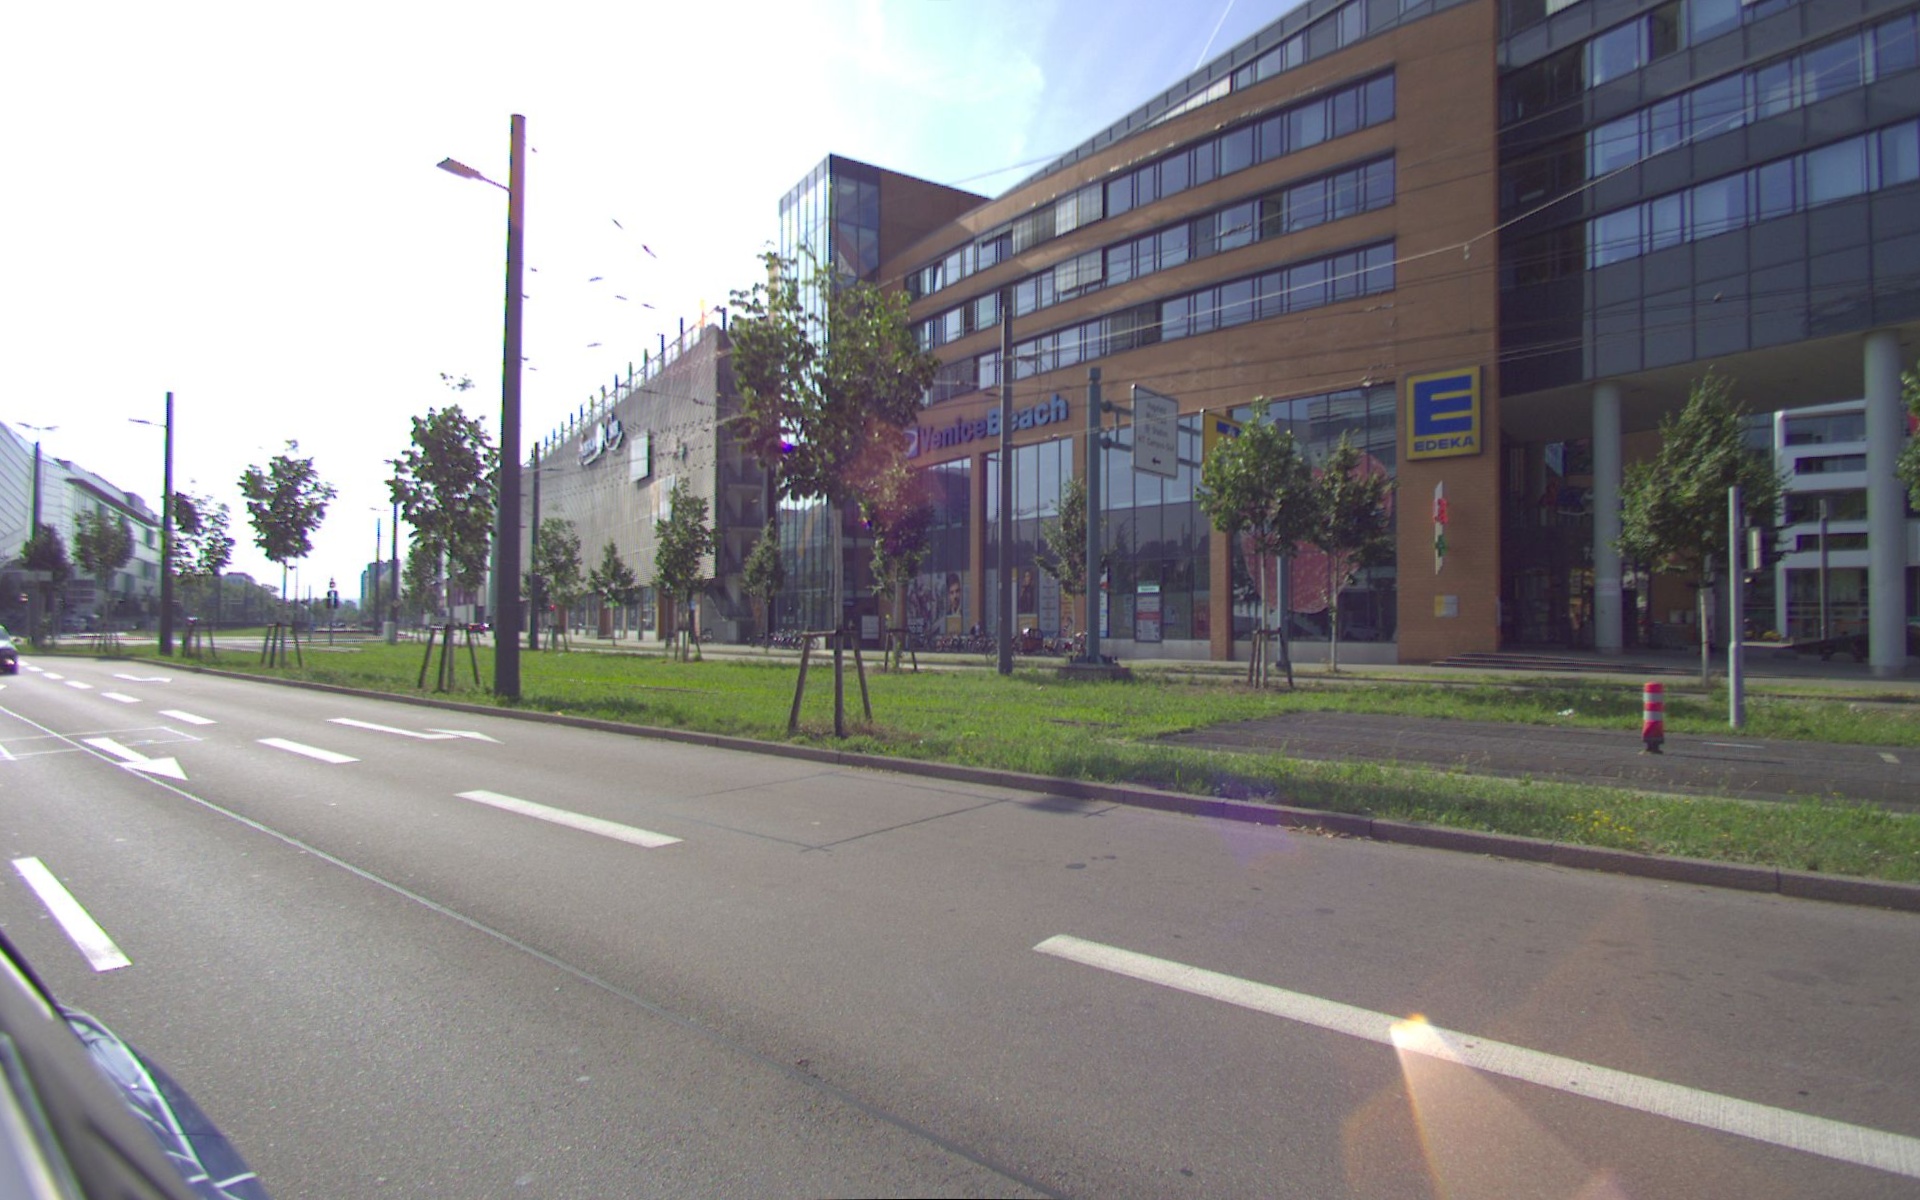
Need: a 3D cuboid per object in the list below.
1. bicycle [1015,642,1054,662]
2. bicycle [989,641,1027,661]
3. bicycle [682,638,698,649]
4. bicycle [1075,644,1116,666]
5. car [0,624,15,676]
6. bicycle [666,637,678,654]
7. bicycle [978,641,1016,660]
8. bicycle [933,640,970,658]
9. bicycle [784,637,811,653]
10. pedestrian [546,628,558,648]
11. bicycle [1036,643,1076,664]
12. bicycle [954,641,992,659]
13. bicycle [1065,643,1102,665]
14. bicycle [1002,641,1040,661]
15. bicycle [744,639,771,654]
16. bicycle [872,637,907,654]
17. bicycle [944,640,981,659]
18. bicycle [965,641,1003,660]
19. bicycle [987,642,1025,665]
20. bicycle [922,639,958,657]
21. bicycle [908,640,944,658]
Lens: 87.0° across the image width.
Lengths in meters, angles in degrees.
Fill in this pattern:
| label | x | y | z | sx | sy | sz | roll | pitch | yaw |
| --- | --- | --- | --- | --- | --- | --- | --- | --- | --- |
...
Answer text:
| label | x | y | z | sx | sy | sz | roll | pitch | yaw |
| --- | --- | --- | --- | --- | --- | --- | --- | --- | --- |
| bicycle | 3.579 | 2.478 | 48.709 | 2.022 | 0.928 | 0.574 | 1 | -2 | -38 |
| bicycle | 2.375 | 2.521 | 50.041 | 2.022 | 0.928 | 0.574 | 1 | -2 | -38 |
| bicycle | -19.200 | 3.084 | 72.033 | 0.989 | 0.758 | 0.453 | 1 | -2 | -32 |
| bicycle | 6.108 | 2.461 | 45.539 | 2.022 | 0.928 | 0.574 | 1 | -2 | -38 |
| car | -28.578 | 1.407 | 29.129 | 3.893 | 1.430 | 1.622 | -1 | -2 | 41 |
| bicycle | -18.248 | 2.897 | 64.074 | 0.438 | 0.995 | 2.171 | 2 | -1 | -24 |
| bicycle | 1.850 | 2.522 | 50.777 | 2.022 | 0.928 | 0.574 | 1 | -2 | -38 |
| bicycle | -0.445 | 2.589 | 53.367 | 2.022 | 0.928 | 0.574 | 1 | -2 | -38 |
| bicycle | -9.557 | 2.662 | 59.648 | 1.557 | 0.947 | 0.412 | 1 | -2 | -34 |
| pedestrian | -32.118 | 2.984 | 79.690 | 0.751 | 1.591 | 0.591 | 2 | -2 | -37 |
| bicycle | 4.494 | 2.482 | 47.295 | 2.022 | 0.928 | 0.574 | 1 | -2 | -38 |
| bicycle | 0.666 | 2.561 | 52.059 | 2.022 | 0.928 | 0.574 | 1 | -2 | -38 |
| bicycle | 5.622 | 2.457 | 46.095 | 2.022 | 0.928 | 0.381 | 1 | -2 | -38 |
| bicycle | 2.981 | 2.500 | 49.385 | 2.022 | 0.928 | 0.574 | 1 | -2 | -38 |
| bicycle | -12.464 | 2.856 | 62.182 | 1.557 | 0.947 | 0.474 | 1 | -2 | -34 |
| bicycle | -4.048 | 2.619 | 57.975 | 2.022 | 0.928 | 0.574 | 1 | -2 | -38 |
| bicycle | 0.141 | 2.566 | 52.719 | 2.022 | 0.928 | 0.574 | 1 | -2 | -38 |
| bicycle | 1.237 | 2.561 | 51.337 | 2.022 | 0.928 | 0.574 | 1 | -2 | -38 |
| bicycle | 1.955 | 2.261 | 42.780 | 0.710 | 0.914 | 1.656 | -1 | -1 | 44 |
| bicycle | -1.072 | 2.565 | 54.103 | 2.022 | 0.928 | 0.574 | 1 | -2 | -38 |
| bicycle | -1.828 | 2.642 | 55.076 | 2.022 | 0.928 | 0.574 | 1 | -2 | -38 |
